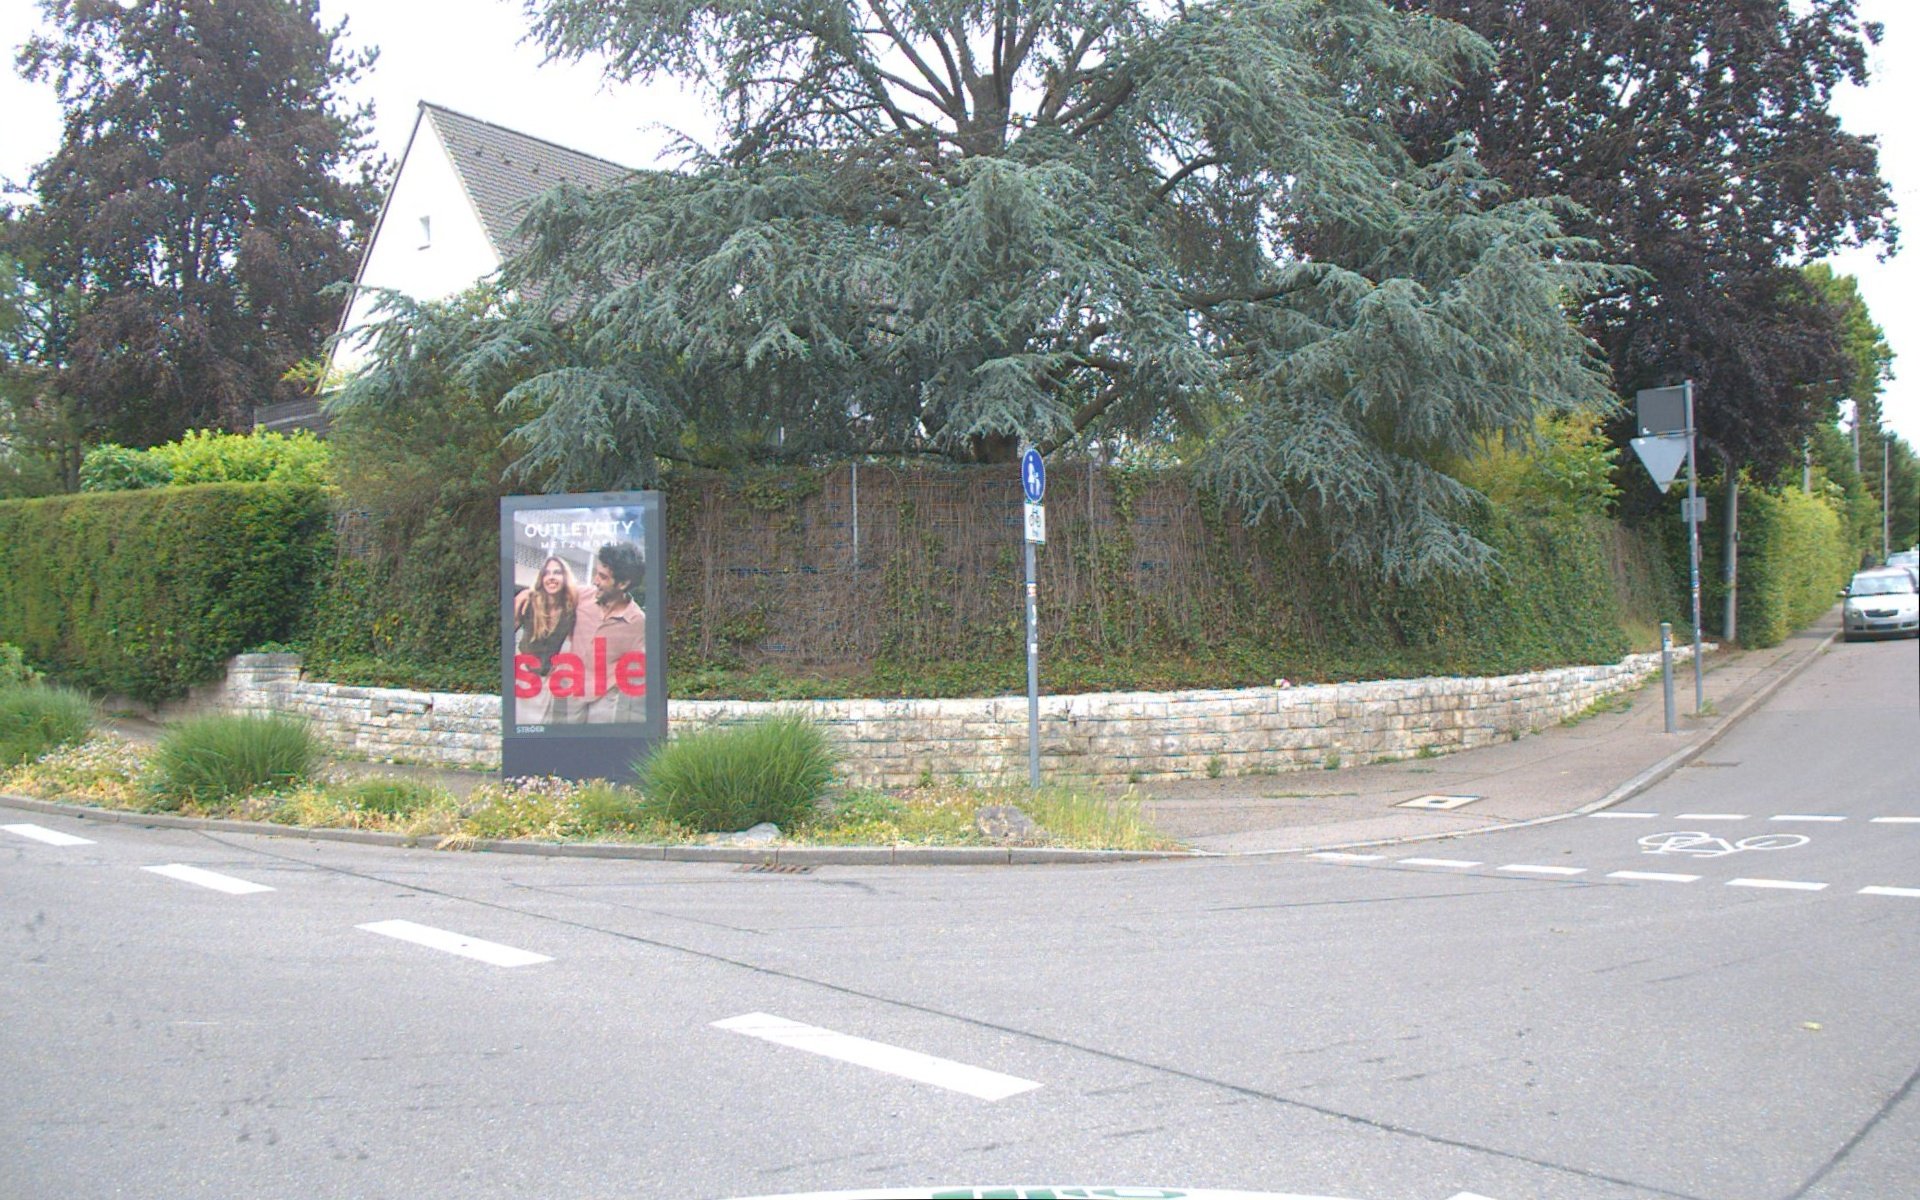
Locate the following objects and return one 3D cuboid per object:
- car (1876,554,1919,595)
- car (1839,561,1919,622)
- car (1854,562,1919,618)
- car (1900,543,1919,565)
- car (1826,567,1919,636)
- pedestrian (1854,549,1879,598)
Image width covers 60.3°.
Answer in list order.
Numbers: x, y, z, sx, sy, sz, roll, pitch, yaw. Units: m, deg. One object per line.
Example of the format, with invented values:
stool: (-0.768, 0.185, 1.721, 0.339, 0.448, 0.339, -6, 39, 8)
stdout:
car: (35.622, -0.968, 62.257, 1.909, 1.467, 3.994, -2, 0, 29)
car: (23.714, -0.236, 42.520, 1.909, 1.467, 3.994, -2, 0, 29)
car: (26.519, -0.306, 46.983, 1.909, 1.467, 3.994, -2, 0, 29)
car: (65.689, -3.151, 113.795, 1.683, 1.488, 3.649, 0, 1, 30)
car: (21.103, 0.005, 38.152, 1.909, 1.467, 3.994, -2, 0, 29)
pedestrian: (38.305, -1.131, 69.885, 0.836, 2.049, 0.872, 0, 1, 25)
